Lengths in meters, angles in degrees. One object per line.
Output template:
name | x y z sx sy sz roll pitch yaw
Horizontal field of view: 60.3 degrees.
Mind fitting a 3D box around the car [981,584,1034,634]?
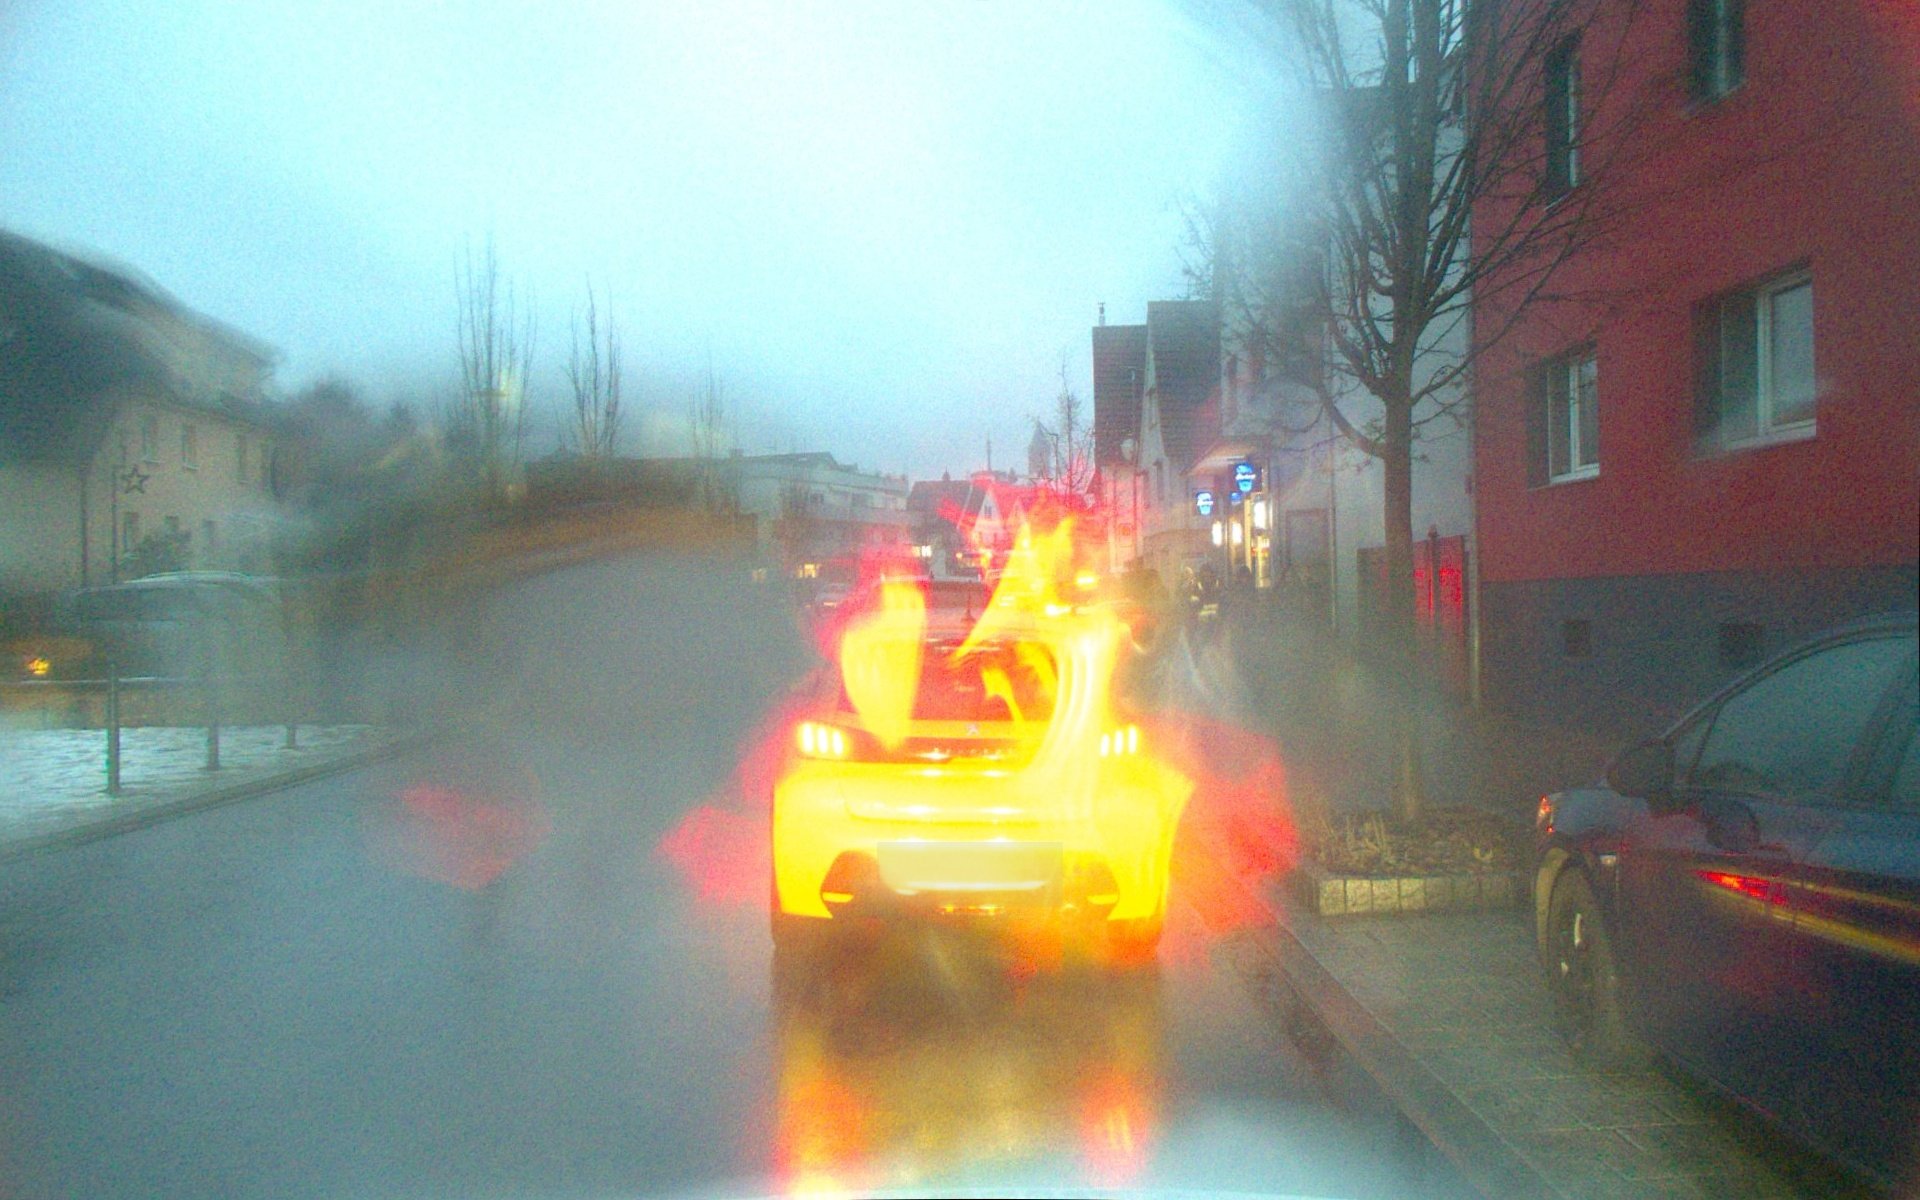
car | 1.840 0.349 65.014 1.957 1.897 4.082 0 0 0

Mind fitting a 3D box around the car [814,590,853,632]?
car | -6.680 0.598 87.694 1.881 2.063 3.972 1 -2 -3

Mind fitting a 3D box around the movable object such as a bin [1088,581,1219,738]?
movable object such as a bin | 1.931 0.569 16.746 1.106 1.445 1.418 -4 1 1

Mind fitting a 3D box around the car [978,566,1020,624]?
car | 1.798 -0.191 77.412 1.832 2.512 4.443 1 -2 0

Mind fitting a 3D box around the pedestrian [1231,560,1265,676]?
pedestrian | 4.661 0.280 26.758 0.517 1.832 0.865 0 0 9

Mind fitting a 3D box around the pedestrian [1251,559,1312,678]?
pedestrian | 4.772 0.277 24.623 0.731 1.708 1.052 -2 -1 5

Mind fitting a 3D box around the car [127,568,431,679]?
car | -9.867 0.326 24.113 3.713 1.549 1.716 0 0 6

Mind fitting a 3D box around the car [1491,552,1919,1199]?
car | 2.751 0.644 3.859 1.693 1.490 4.199 -3 1 1

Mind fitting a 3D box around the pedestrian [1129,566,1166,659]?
pedestrian | 3.587 0.237 31.689 0.561 1.729 0.653 -2 0 1

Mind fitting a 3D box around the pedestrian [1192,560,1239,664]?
pedestrian | 4.418 0.199 28.567 0.697 1.745 1.035 -2 1 13

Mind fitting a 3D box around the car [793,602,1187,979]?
car | 0.101 0.750 7.997 1.531 1.437 3.017 1 0 -1

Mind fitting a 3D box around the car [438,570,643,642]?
car | -10.173 0.153 40.420 4.533 1.697 1.999 0 0 -3

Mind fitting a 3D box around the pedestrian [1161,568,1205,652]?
pedestrian | 4.529 0.191 33.688 0.608 1.655 0.903 -1 1 -14

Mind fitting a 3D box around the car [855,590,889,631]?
car | -5.079 0.640 95.624 1.881 2.254 3.972 1 -2 -3

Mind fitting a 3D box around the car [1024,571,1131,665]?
car | 2.286 0.330 33.063 1.700 1.722 4.385 -1 0 -1

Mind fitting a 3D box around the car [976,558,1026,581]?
car | 3.615 -2.699 144.993 4.281 1.858 2.000 1 -2 1

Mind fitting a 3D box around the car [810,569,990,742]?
car | -0.550 0.524 17.889 1.730 1.657 3.586 1 0 1

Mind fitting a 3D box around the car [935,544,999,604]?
car | 0.478 -1.433 93.992 3.123 3.085 6.308 1 -2 5

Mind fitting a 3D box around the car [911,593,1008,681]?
car | -0.028 0.580 27.835 1.510 1.355 3.311 1 0 -1

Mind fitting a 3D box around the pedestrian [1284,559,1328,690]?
pedestrian | 4.548 0.329 21.788 0.517 1.682 0.954 0 -2 9

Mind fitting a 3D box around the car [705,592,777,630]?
car | -12.109 0.609 91.310 4.097 2.011 1.810 -1 -3 44

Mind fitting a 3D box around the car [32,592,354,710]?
car | -9.797 0.631 21.314 3.375 1.396 1.600 -1 0 -2

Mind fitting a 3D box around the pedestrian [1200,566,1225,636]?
pedestrian | 6.396 0.023 41.919 0.605 1.757 0.502 0 -2 11

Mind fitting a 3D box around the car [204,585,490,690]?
car | -9.835 0.590 26.697 4.008 1.636 1.588 0 0 2

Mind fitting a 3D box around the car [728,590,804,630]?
car | -11.094 0.580 94.374 4.310 2.204 1.987 -1 -3 44
